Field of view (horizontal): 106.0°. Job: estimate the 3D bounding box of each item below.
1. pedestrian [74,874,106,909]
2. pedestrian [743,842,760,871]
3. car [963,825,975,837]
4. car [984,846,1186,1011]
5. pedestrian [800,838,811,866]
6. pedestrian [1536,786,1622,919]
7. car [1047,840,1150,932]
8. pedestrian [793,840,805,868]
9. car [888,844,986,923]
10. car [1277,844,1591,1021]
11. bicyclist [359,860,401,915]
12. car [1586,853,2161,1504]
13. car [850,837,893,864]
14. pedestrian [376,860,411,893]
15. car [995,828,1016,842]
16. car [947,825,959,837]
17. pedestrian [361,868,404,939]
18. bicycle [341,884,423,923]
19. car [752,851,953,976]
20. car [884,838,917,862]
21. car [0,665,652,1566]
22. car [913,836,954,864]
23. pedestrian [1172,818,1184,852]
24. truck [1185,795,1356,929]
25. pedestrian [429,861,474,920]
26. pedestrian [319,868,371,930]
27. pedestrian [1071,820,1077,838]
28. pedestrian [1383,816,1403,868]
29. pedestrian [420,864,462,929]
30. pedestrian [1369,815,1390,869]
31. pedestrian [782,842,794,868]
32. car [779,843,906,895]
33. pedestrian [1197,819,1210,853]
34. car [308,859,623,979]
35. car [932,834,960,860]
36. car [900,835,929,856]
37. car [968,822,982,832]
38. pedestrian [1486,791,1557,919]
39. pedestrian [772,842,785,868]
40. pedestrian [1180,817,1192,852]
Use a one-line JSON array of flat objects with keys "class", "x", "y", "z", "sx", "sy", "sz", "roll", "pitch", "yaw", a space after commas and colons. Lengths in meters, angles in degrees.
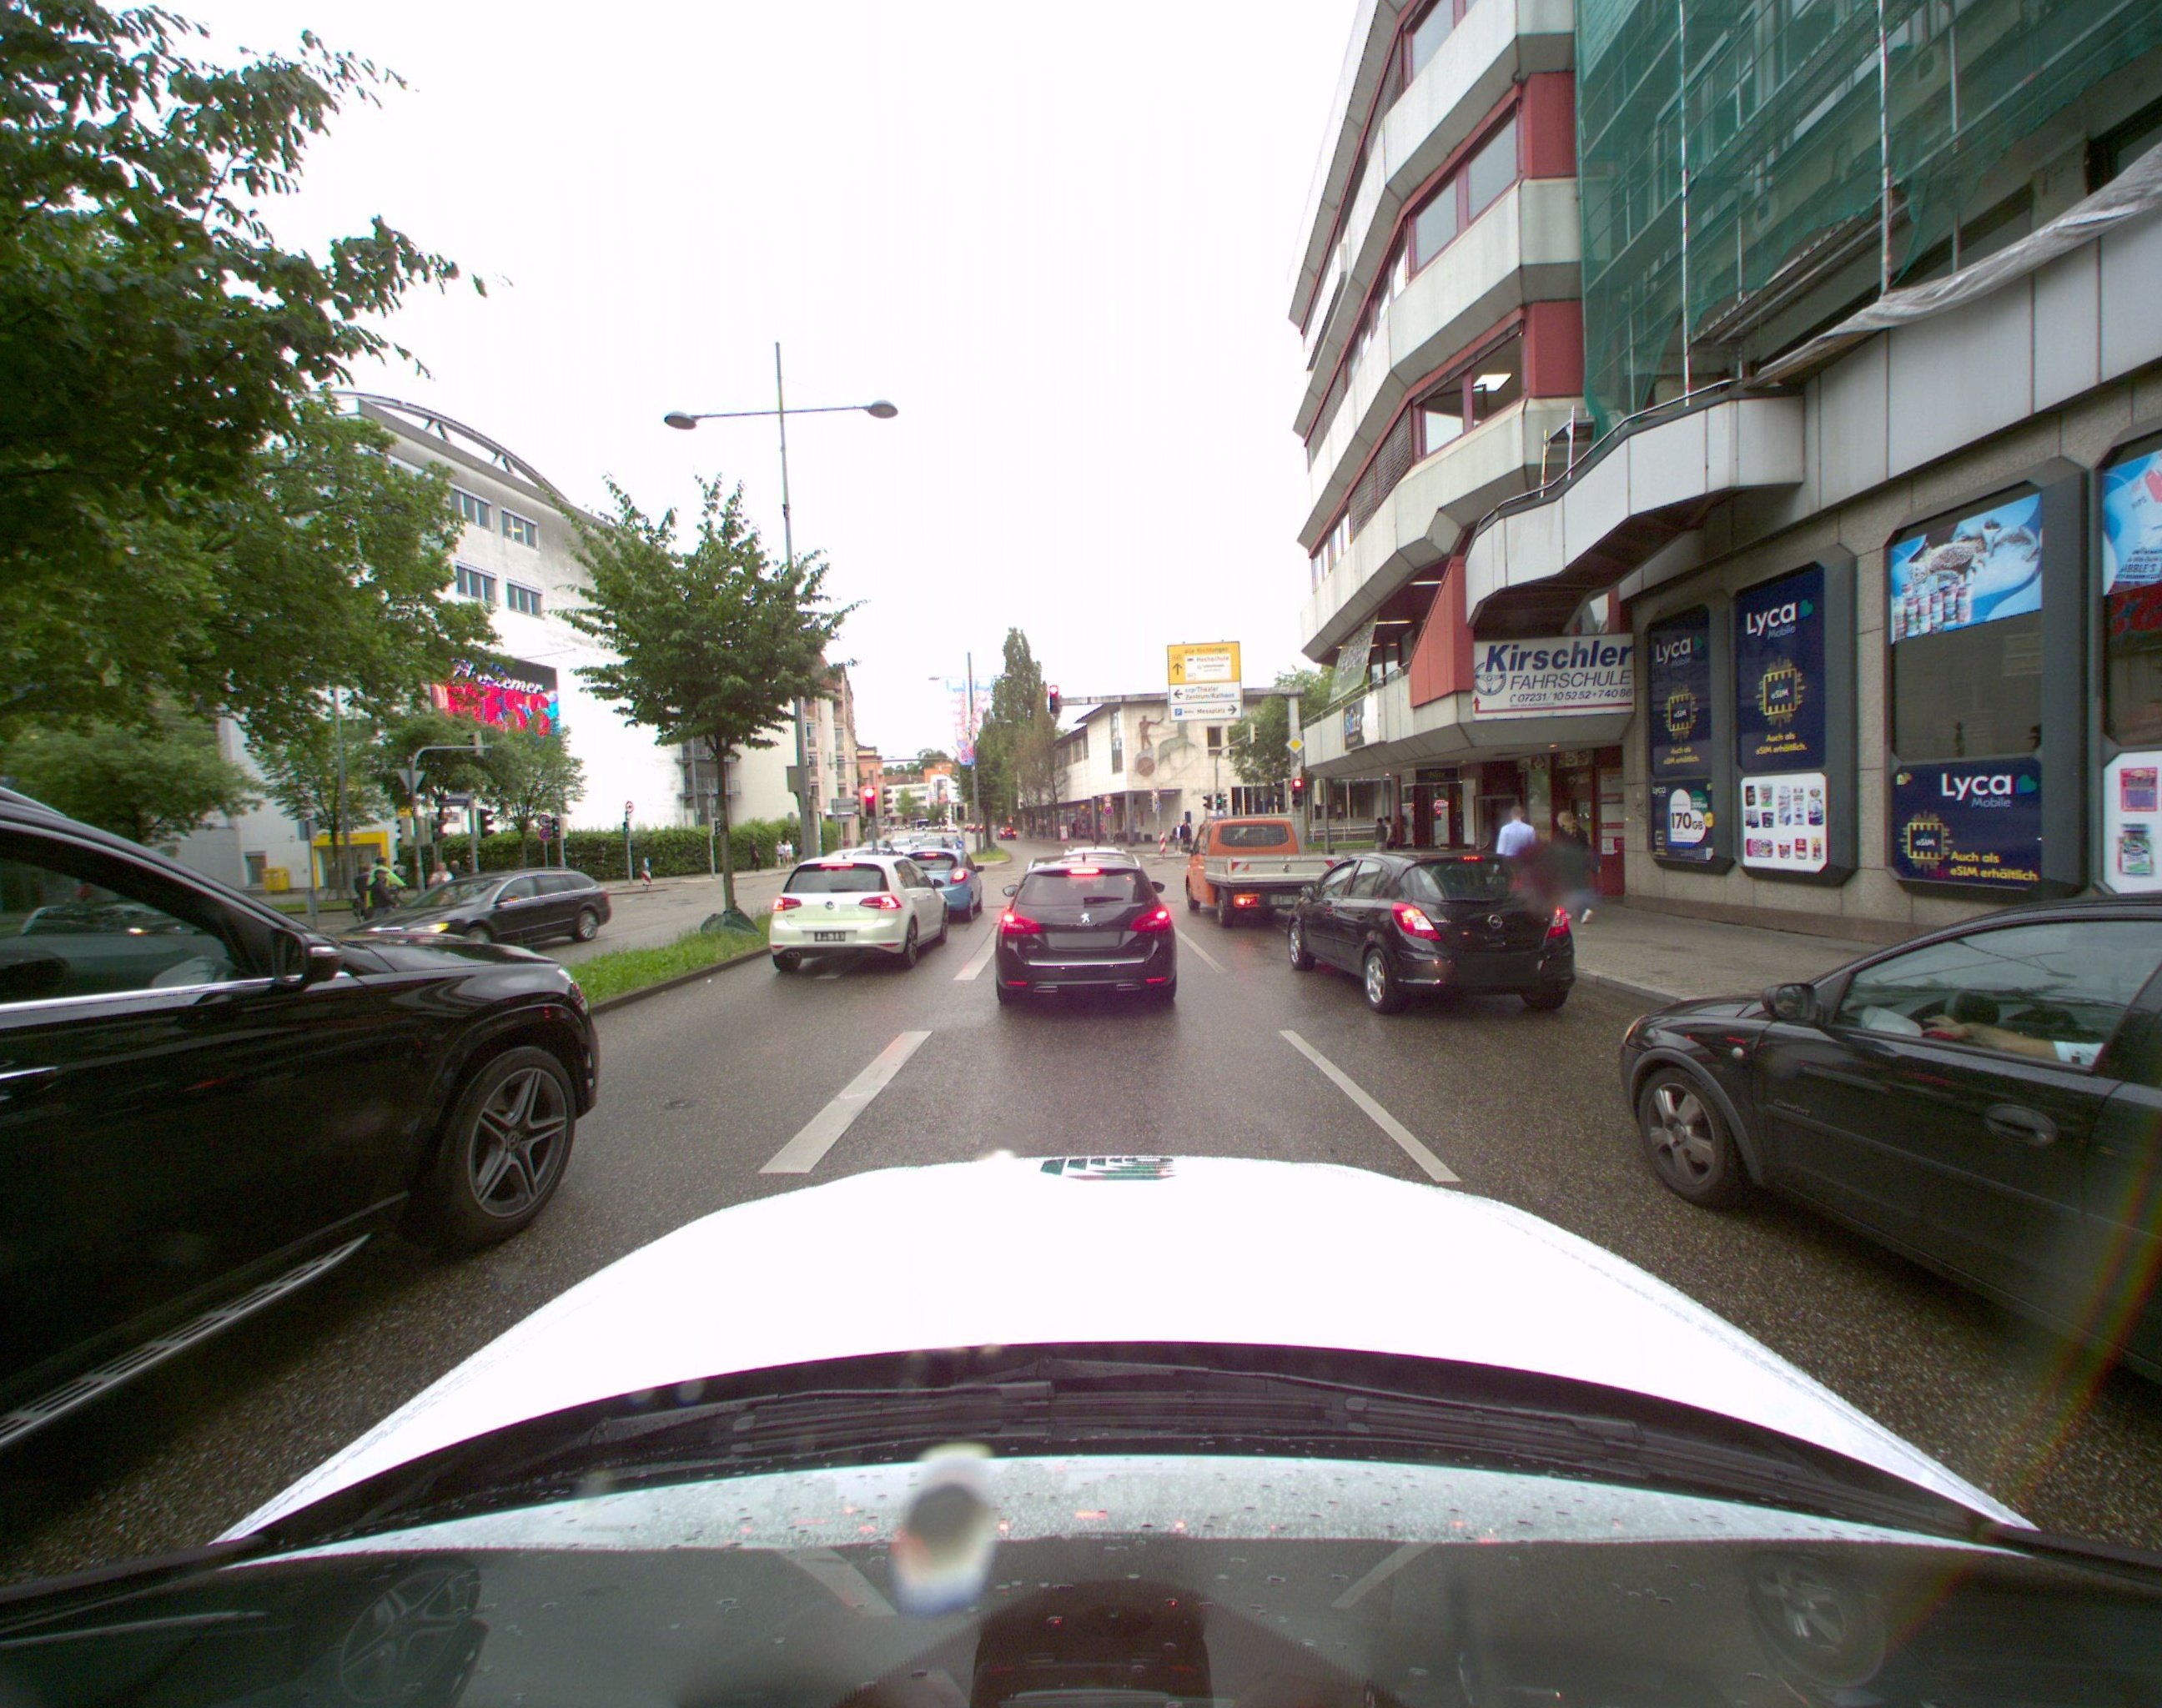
[{"class": "pedestrian", "x": -48.323, "y": 1.818, "z": 39.710, "sx": 0.633, "sy": 1.643, "sz": 0.735, "roll": -1, "pitch": -1, "yaw": 8}, {"class": "pedestrian", "x": -18.684, "y": 0.157, "z": 46.230, "sx": 0.634, "sy": 1.643, "sz": 0.735, "roll": -1, "pitch": -1, "yaw": 5}, {"class": "car", "x": -20.423, "y": -4.194, "z": 148.025, "sx": 1.709, "sy": 1.936, "sz": 3.979, "roll": 0, "pitch": -1, "yaw": -15}, {"class": "car", "x": 0.119, "y": 0.642, "z": 9.127, "sx": 1.770, "sy": 1.429, "sz": 3.845, "roll": -1, "pitch": 1, "yaw": 2}, {"class": "pedestrian", "x": -17.662, "y": -0.130, "z": 52.197, "sx": 0.538, "sy": 1.748, "sz": 0.564, "roll": -1, "pitch": -1, "yaw": -3}, {"class": "pedestrian", "x": 7.640, "y": -0.016, "z": 12.513, "sx": 0.733, "sy": 1.934, "sz": 0.640, "roll": -5, "pitch": -1, "yaw": 1}, {"class": "car", "x": 0.350, "y": 0.506, "z": 15.472, "sx": 1.690, "sy": 1.486, "sz": 3.795, "roll": -1, "pitch": 1, "yaw": 2}, {"class": "pedestrian", "x": -17.538, "y": 0.001, "z": 50.596, "sx": 0.538, "sy": 1.748, "sz": 0.745, "roll": -1, "pitch": -1, "yaw": -7}, {"class": "car", "x": -3.016, "y": 0.555, "z": 17.683, "sx": 1.629, "sy": 1.486, "sz": 3.606, "roll": -1, "pitch": 1, "yaw": -3}, {"class": "car", "x": 3.380, "y": 0.622, "z": 8.631, "sx": 1.611, "sy": 1.429, "sz": 3.840, "roll": -1, "pitch": 1, "yaw": -1}, {"class": "bicyclist", "x": -20.188, "y": 0.958, "z": 23.463, "sx": 0.629, "sy": 1.530, "sz": 0.609, "roll": -3, "pitch": -1, "yaw": 1}, {"class": "car", "x": 3.266, "y": 0.743, "z": 2.289, "sx": 1.600, "sy": 1.429, "sz": 3.626, "roll": -1, "pitch": 1, "yaw": 3}, {"class": "car", "x": -11.969, "y": -0.233, "z": 46.737, "sx": 1.569, "sy": 1.486, "sz": 3.608, "roll": -1, "pitch": 1, "yaw": -1}, {"class": "pedestrian", "x": -33.246, "y": 1.101, "z": 39.390, "sx": 1.059, "sy": 1.578, "sz": 0.683, "roll": -1, "pitch": -1, "yaw": -3}, {"class": "car", "x": -8.984, "y": -2.267, "z": 96.553, "sx": 1.790, "sy": 1.454, "sz": 4.485, "roll": -5, "pitch": 3, "yaw": -14}, {"class": "car", "x": -23.133, "y": -4.154, "z": 146.881, "sx": 1.709, "sy": 1.882, "sz": 3.979, "roll": 0, "pitch": -1, "yaw": -15}, {"class": "pedestrian", "x": -16.983, "y": 1.179, "z": 19.791, "sx": 0.552, "sy": 1.661, "sz": 0.583, "roll": -1, "pitch": 2, "yaw": 33}, {"class": "bicycle", "x": -20.166, "y": 1.398, "z": 23.564, "sx": 0.613, "sy": 1.000, "sz": 1.941, "roll": -3, "pitch": -1, "yaw": 2}, {"class": "car", "x": -3.029, "y": 0.707, "z": 11.647, "sx": 1.772, "sy": 1.429, "sz": 3.841, "roll": -1, "pitch": 1, "yaw": 0}, {"class": "car", "x": -12.086, "y": -0.302, "z": 54.694, "sx": 1.630, "sy": 1.486, "sz": 3.604, "roll": -1, "pitch": 1, "yaw": -4}, {"class": "car", "x": -3.201, "y": 0.550, "z": 1.662, "sx": 1.905, "sy": 1.870, "sz": 5.073, "roll": -1, "pitch": -1, "yaw": 1}, {"class": "car", "x": -8.688, "y": -0.204, "z": 48.291, "sx": 1.739, "sy": 1.579, "sz": 3.997, "roll": -1, "pitch": -1, "yaw": -1}, {"class": "pedestrian", "x": 5.176, "y": -1.006, "z": 43.408, "sx": 0.633, "sy": 1.758, "sz": 0.735, "roll": -1, "pitch": -1, "yaw": 8}, {"class": "truck", "x": 3.441, "y": 0.073, "z": 15.908, "sx": 2.170, "sy": 2.172, "sz": 5.020, "roll": -1, "pitch": 1, "yaw": 0}, {"class": "pedestrian", "x": -18.533, "y": 1.062, "z": 23.986, "sx": 0.750, "sy": 1.661, "sz": 0.628, "roll": -2, "pitch": 2, "yaw": 1}, {"class": "pedestrian", "x": -21.701, "y": 1.307, "z": 24.024, "sx": 0.917, "sy": 1.784, "sz": 0.712, "roll": -1, "pitch": -1, "yaw": 13}, {"class": "pedestrian", "x": -0.747, "y": -2.567, "z": 83.204, "sx": 0.469, "sy": 1.748, "sz": 0.537, "roll": 0, "pitch": -1, "yaw": -19}, {"class": "pedestrian", "x": 10.164, "y": -0.383, "z": 26.564, "sx": 0.395, "sy": 1.640, "sz": 0.504, "roll": -3, "pitch": -1, "yaw": 2}, {"class": "pedestrian", "x": -17.030, "y": 1.116, "z": 21.682, "sx": 0.555, "sy": 1.661, "sz": 0.580, "roll": -2, "pitch": 2, "yaw": 2}, {"class": "pedestrian", "x": 9.600, "y": -0.375, "z": 26.164, "sx": 0.424, "sy": 1.682, "sz": 0.450, "roll": -3, "pitch": -1, "yaw": 0}, {"class": "pedestrian", "x": -18.336, "y": 0.044, "z": 51.001, "sx": 0.579, "sy": 1.599, "sz": 0.526, "roll": -1, "pitch": -1, "yaw": -5}, {"class": "car", "x": -7.803, "y": 0.462, "z": 26.954, "sx": 1.617, "sy": 1.468, "sz": 3.777, "roll": -6, "pitch": -2, "yaw": 34}, {"class": "pedestrian", "x": 6.771, "y": -0.987, "z": 45.027, "sx": 0.633, "sy": 1.897, "sz": 0.735, "roll": -1, "pitch": -1, "yaw": 8}, {"class": "car", "x": -10.469, "y": 0.984, "z": 14.450, "sx": 1.626, "sy": 1.485, "sz": 4.744, "roll": -4, "pitch": 2, "yaw": 4}, {"class": "car", "x": -9.094, "y": -0.442, "z": 55.116, "sx": 1.743, "sy": 1.640, "sz": 3.988, "roll": -1, "pitch": -1, "yaw": -9}, {"class": "car", "x": -12.571, "y": -0.647, "z": 61.573, "sx": 1.630, "sy": 1.486, "sz": 3.604, "roll": -1, "pitch": 1, "yaw": -4}, {"class": "car", "x": -17.424, "y": -4.457, "z": 133.896, "sx": 1.728, "sy": 1.490, "sz": 4.708, "roll": 0, "pitch": -1, "yaw": -15}, {"class": "pedestrian", "x": 6.872, "y": 0.021, "z": 12.736, "sx": 0.733, "sy": 1.935, "sz": 0.640, "roll": -1, "pitch": -1, "yaw": 1}, {"class": "pedestrian", "x": -18.502, "y": 0.052, "z": 49.808, "sx": 0.579, "sy": 1.599, "sz": 0.526, "roll": -1, "pitch": -1, "yaw": -5}, {"class": "pedestrian", "x": 5.822, "y": -1.052, "z": 45.201, "sx": 0.633, "sy": 1.897, "sz": 0.735, "roll": -1, "pitch": -1, "yaw": 8}]
